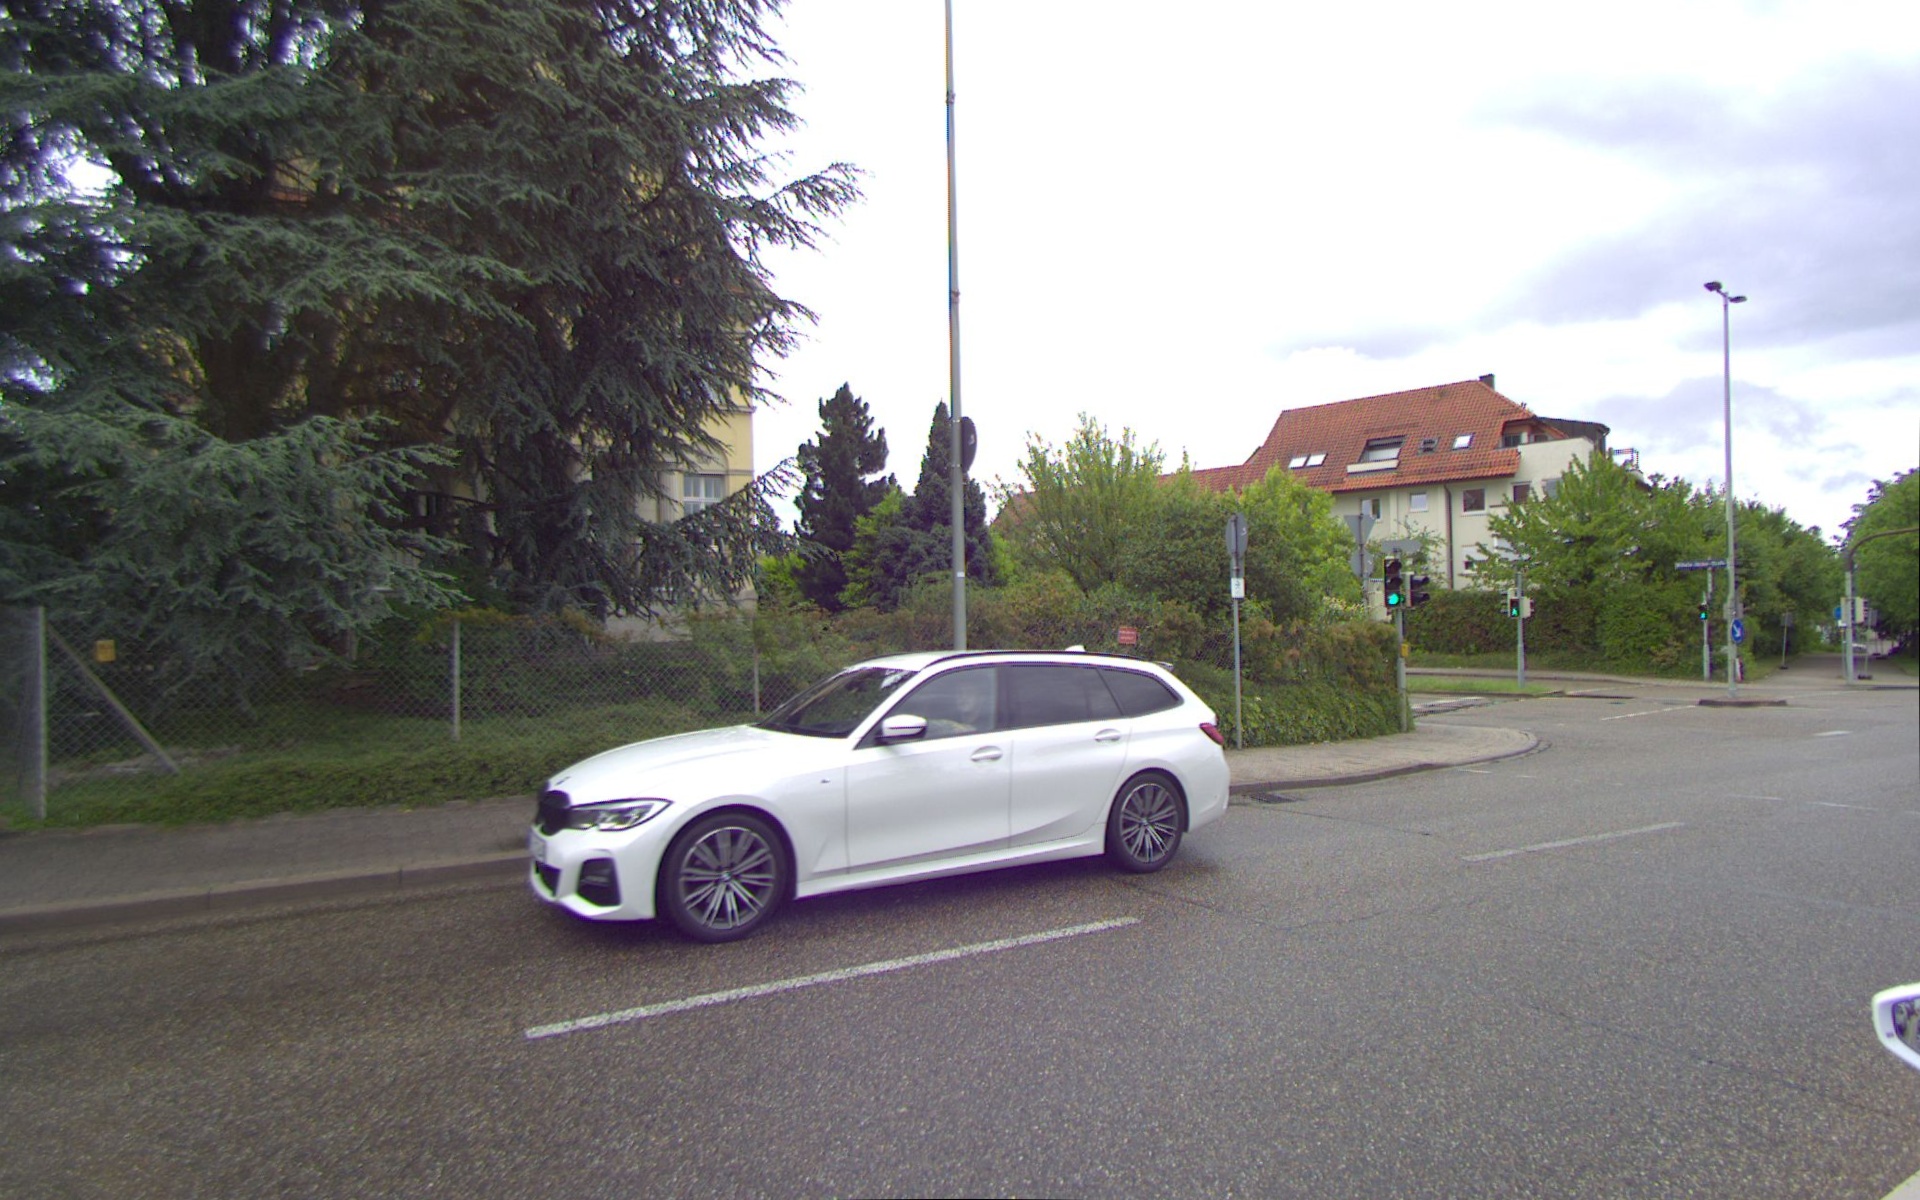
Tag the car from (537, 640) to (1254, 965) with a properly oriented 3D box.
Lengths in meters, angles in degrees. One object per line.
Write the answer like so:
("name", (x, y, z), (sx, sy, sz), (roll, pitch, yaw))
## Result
("car", (-0.272, 1.013, 6.569), (4.382, 1.479, 1.776), (1, -2, -32))
